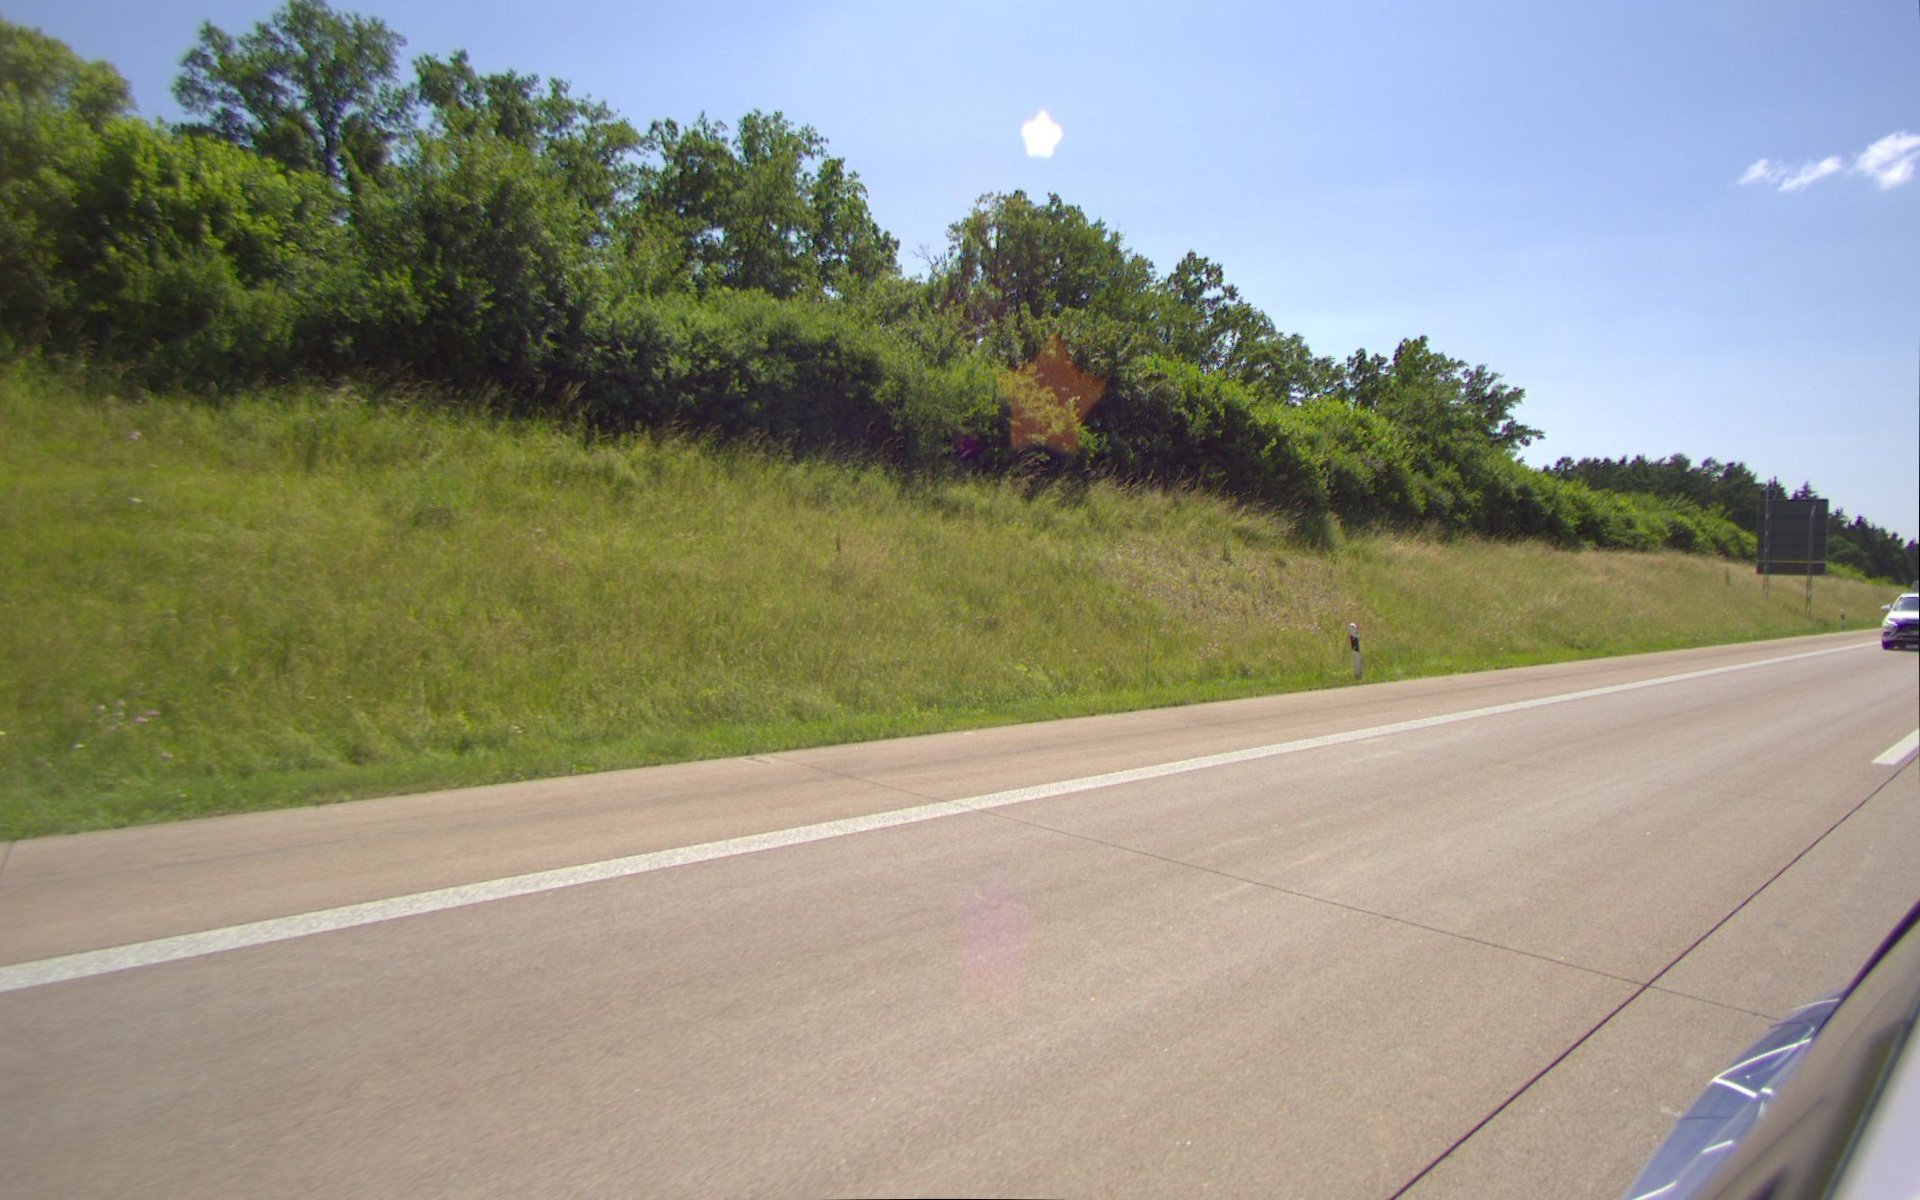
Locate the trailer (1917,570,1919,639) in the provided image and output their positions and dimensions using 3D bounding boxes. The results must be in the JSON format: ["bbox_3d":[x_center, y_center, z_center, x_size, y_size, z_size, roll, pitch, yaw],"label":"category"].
[{"bbox_3d":[32.731,0.159,33.195,3.947,2.191,1.660,0,0,-42],"label":"trailer"}]

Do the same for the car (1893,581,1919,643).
[{"bbox_3d":[29.414,0.354,30.191,5.097,1.750,1.893,0,1,-42],"label":"car"}]
